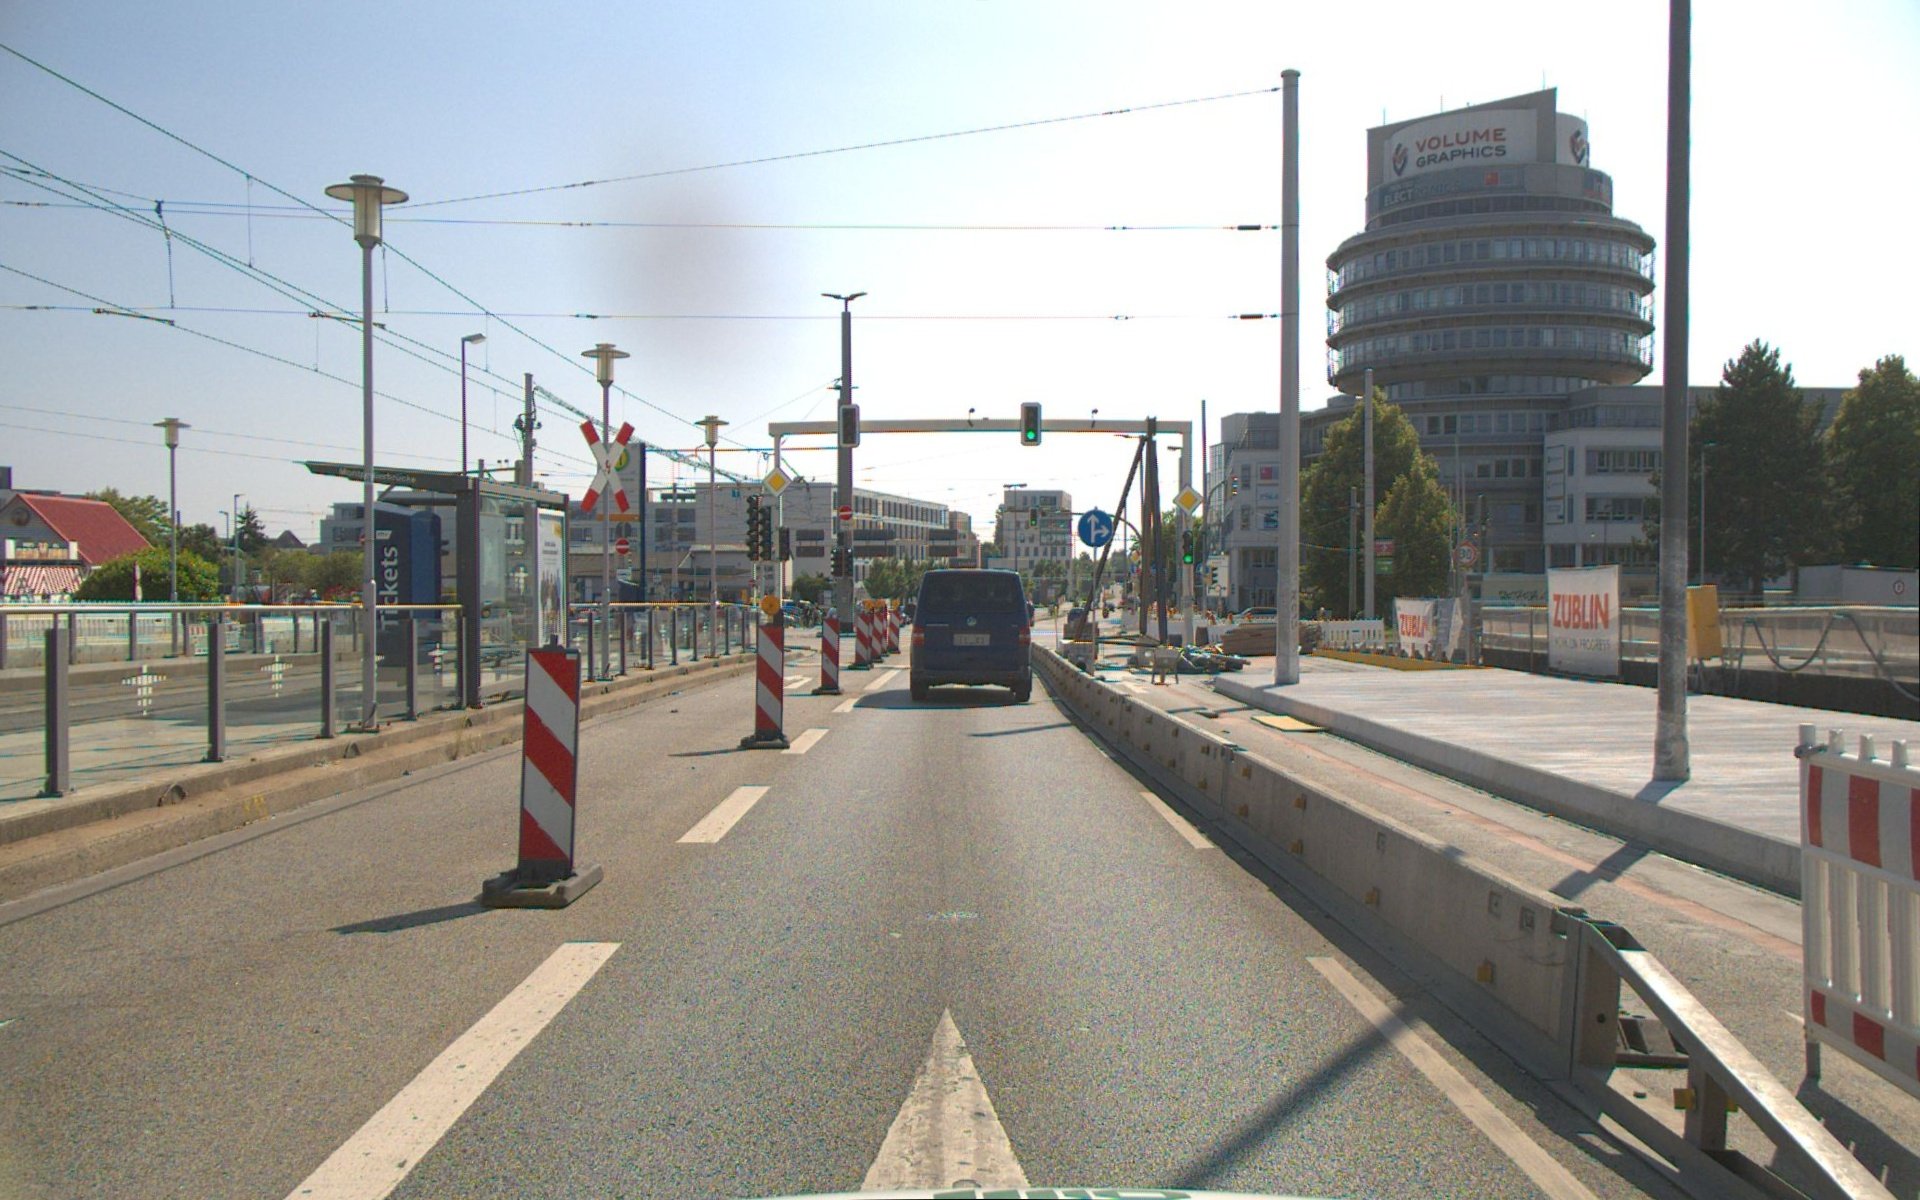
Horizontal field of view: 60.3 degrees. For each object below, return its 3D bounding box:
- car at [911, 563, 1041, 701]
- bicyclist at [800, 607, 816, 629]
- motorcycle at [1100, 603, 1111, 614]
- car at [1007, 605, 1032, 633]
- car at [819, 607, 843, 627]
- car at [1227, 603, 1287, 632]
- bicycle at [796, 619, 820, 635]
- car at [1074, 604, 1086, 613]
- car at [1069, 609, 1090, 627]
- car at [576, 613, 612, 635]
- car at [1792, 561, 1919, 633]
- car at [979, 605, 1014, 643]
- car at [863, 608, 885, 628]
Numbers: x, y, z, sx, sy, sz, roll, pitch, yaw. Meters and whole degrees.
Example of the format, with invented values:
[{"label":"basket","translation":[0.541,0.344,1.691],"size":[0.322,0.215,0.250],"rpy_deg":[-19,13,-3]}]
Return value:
[{"label":"car","translation":[0.233,0.433,26.129],"size":[1.849,1.968,4.000],"rpy_deg":[2,1,0]},{"label":"bicyclist","translation":[-11.454,1.379,124.802],"size":[0.857,1.606,0.970],"rpy_deg":[4,0,14]},{"label":"motorcycle","translation":[16.351,0.962,185.838],"size":[1.137,1.264,3.010],"rpy_deg":[0,0,7]},{"label":"car","translation":[4.006,1.291,111.274],"size":[1.611,1.758,3.718],"rpy_deg":[2,1,2]},{"label":"car","translation":[-10.307,1.338,132.683],"size":[1.712,1.512,3.999],"rpy_deg":[0,0,-2]},{"label":"car","translation":[20.029,1.199,111.685],"size":[3.735,1.829,1.681],"rpy_deg":[1,1,0]},{"label":"bicycle","translation":[-11.488,2.055,124.829],"size":[0.863,1.088,2.809],"rpy_deg":[4,0,14]},{"label":"car","translation":[18.673,1.353,257.320],"size":[1.516,1.363,3.015],"rpy_deg":[1,0,-1]},{"label":"car","translation":[10.163,1.541,140.863],"size":[1.707,1.501,3.886],"rpy_deg":[0,0,4]},{"label":"car","translation":[-27.703,1.803,125.264],"size":[1.741,1.565,4.000],"rpy_deg":[-2,0,1]},{"label":"car","translation":[38.846,-0.129,70.785],"size":[5.861,2.937,2.334],"rpy_deg":[1,1,-19]},{"label":"car","translation":[1.809,1.148,80.716],"size":[1.611,1.758,4.001],"rpy_deg":[2,1,2]},{"label":"car","translation":[-6.861,1.425,132.361],"size":[1.712,1.507,3.999],"rpy_deg":[0,0,-2]}]
